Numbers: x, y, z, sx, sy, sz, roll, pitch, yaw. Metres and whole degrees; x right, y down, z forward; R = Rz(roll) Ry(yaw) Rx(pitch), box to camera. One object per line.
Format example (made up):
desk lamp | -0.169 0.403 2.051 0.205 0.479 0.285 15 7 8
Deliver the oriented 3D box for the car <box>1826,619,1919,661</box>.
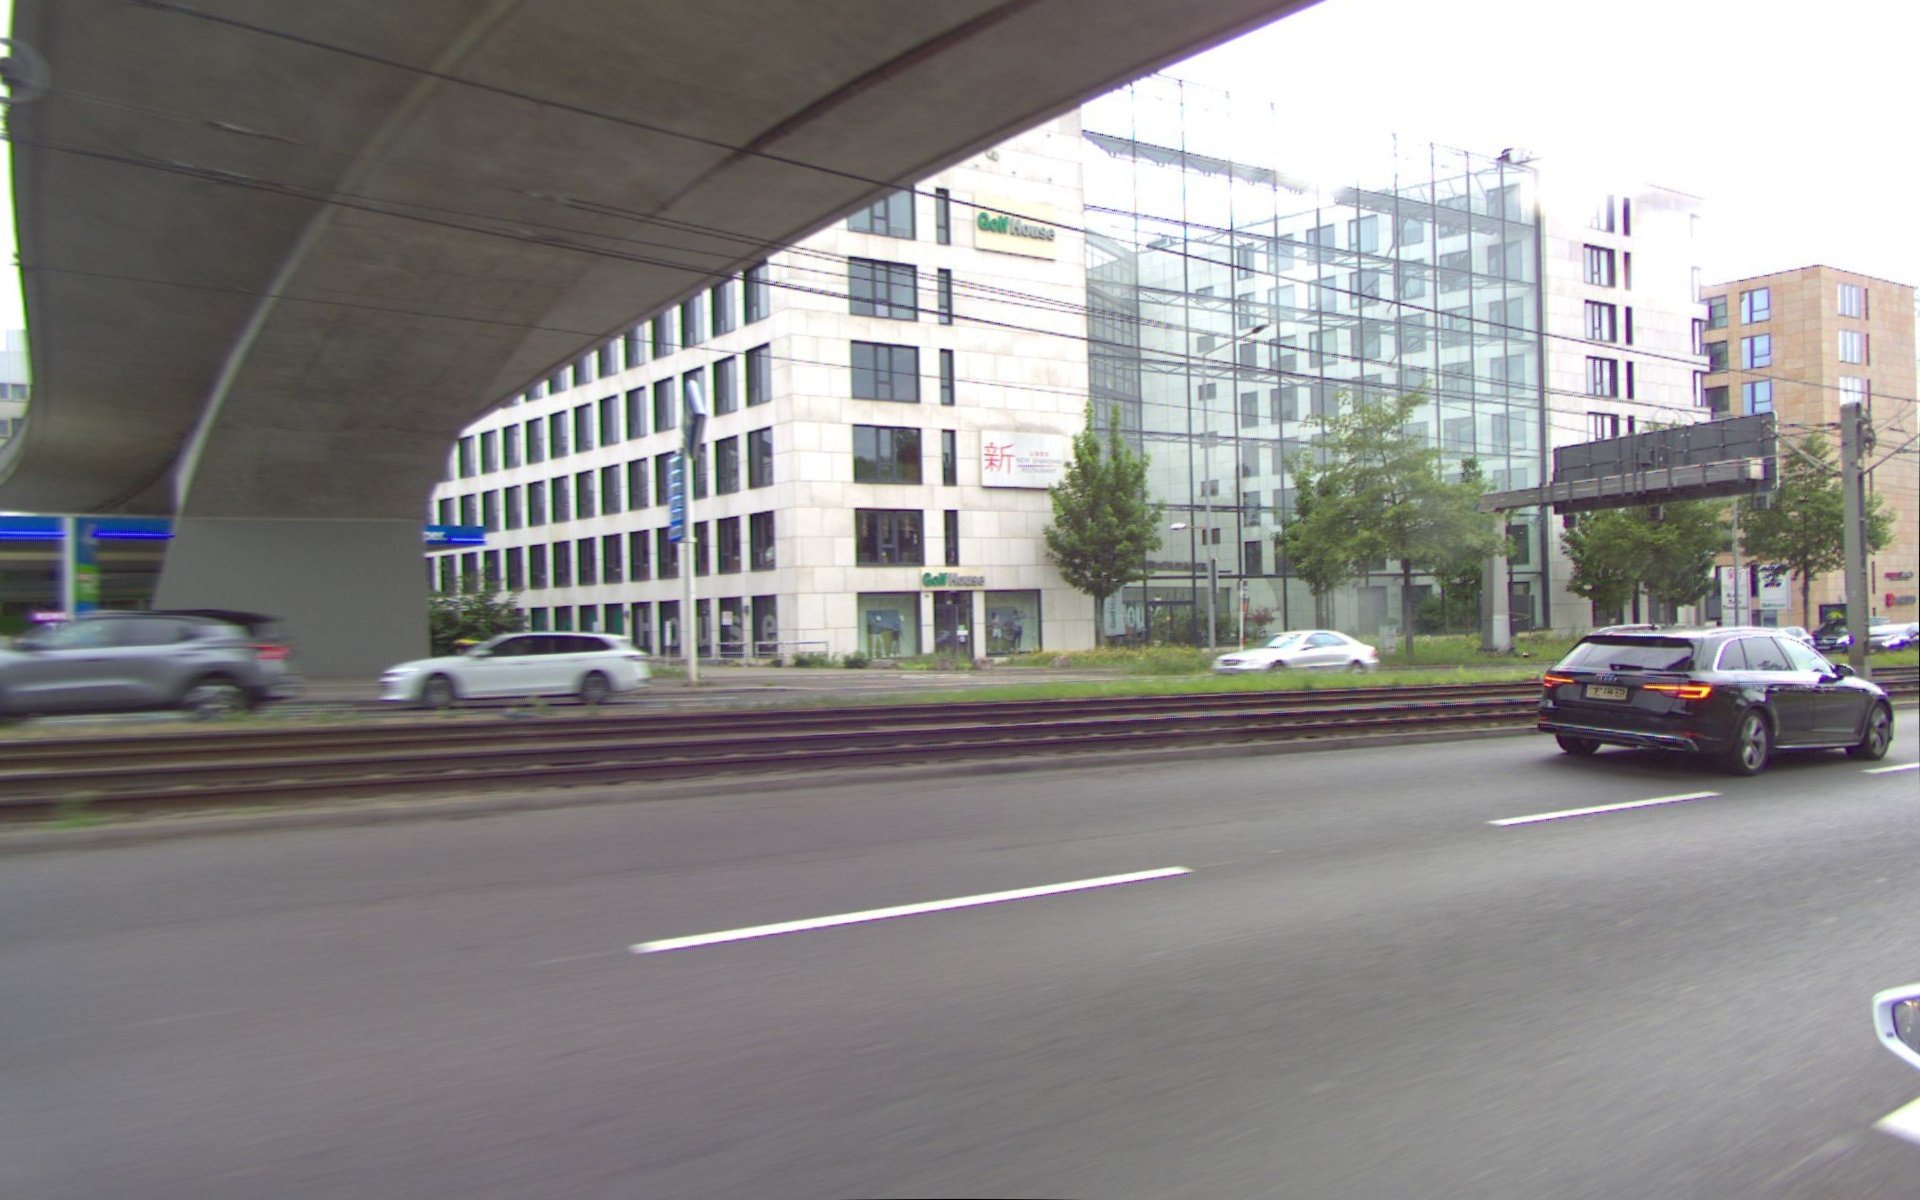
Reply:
car | 37.076 1.557 40.324 4.805 1.554 1.803 0 0 -27

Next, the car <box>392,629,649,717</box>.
car | -8.834 1.392 20.385 4.597 1.517 1.913 0 0 -28

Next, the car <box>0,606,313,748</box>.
car | -11.752 0.997 14.216 4.171 1.800 1.913 0 0 -28

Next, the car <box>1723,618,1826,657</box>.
car | 34.633 1.561 42.691 4.219 1.554 1.803 0 0 -27

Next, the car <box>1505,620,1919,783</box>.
car | 8.272 0.983 10.950 4.745 1.432 1.779 1 0 -28

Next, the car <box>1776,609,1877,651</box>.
car | 43.425 1.478 50.313 5.065 1.978 2.051 0 0 -27

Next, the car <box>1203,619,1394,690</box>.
car | 8.575 1.312 25.364 4.729 1.619 1.758 0 0 -27
